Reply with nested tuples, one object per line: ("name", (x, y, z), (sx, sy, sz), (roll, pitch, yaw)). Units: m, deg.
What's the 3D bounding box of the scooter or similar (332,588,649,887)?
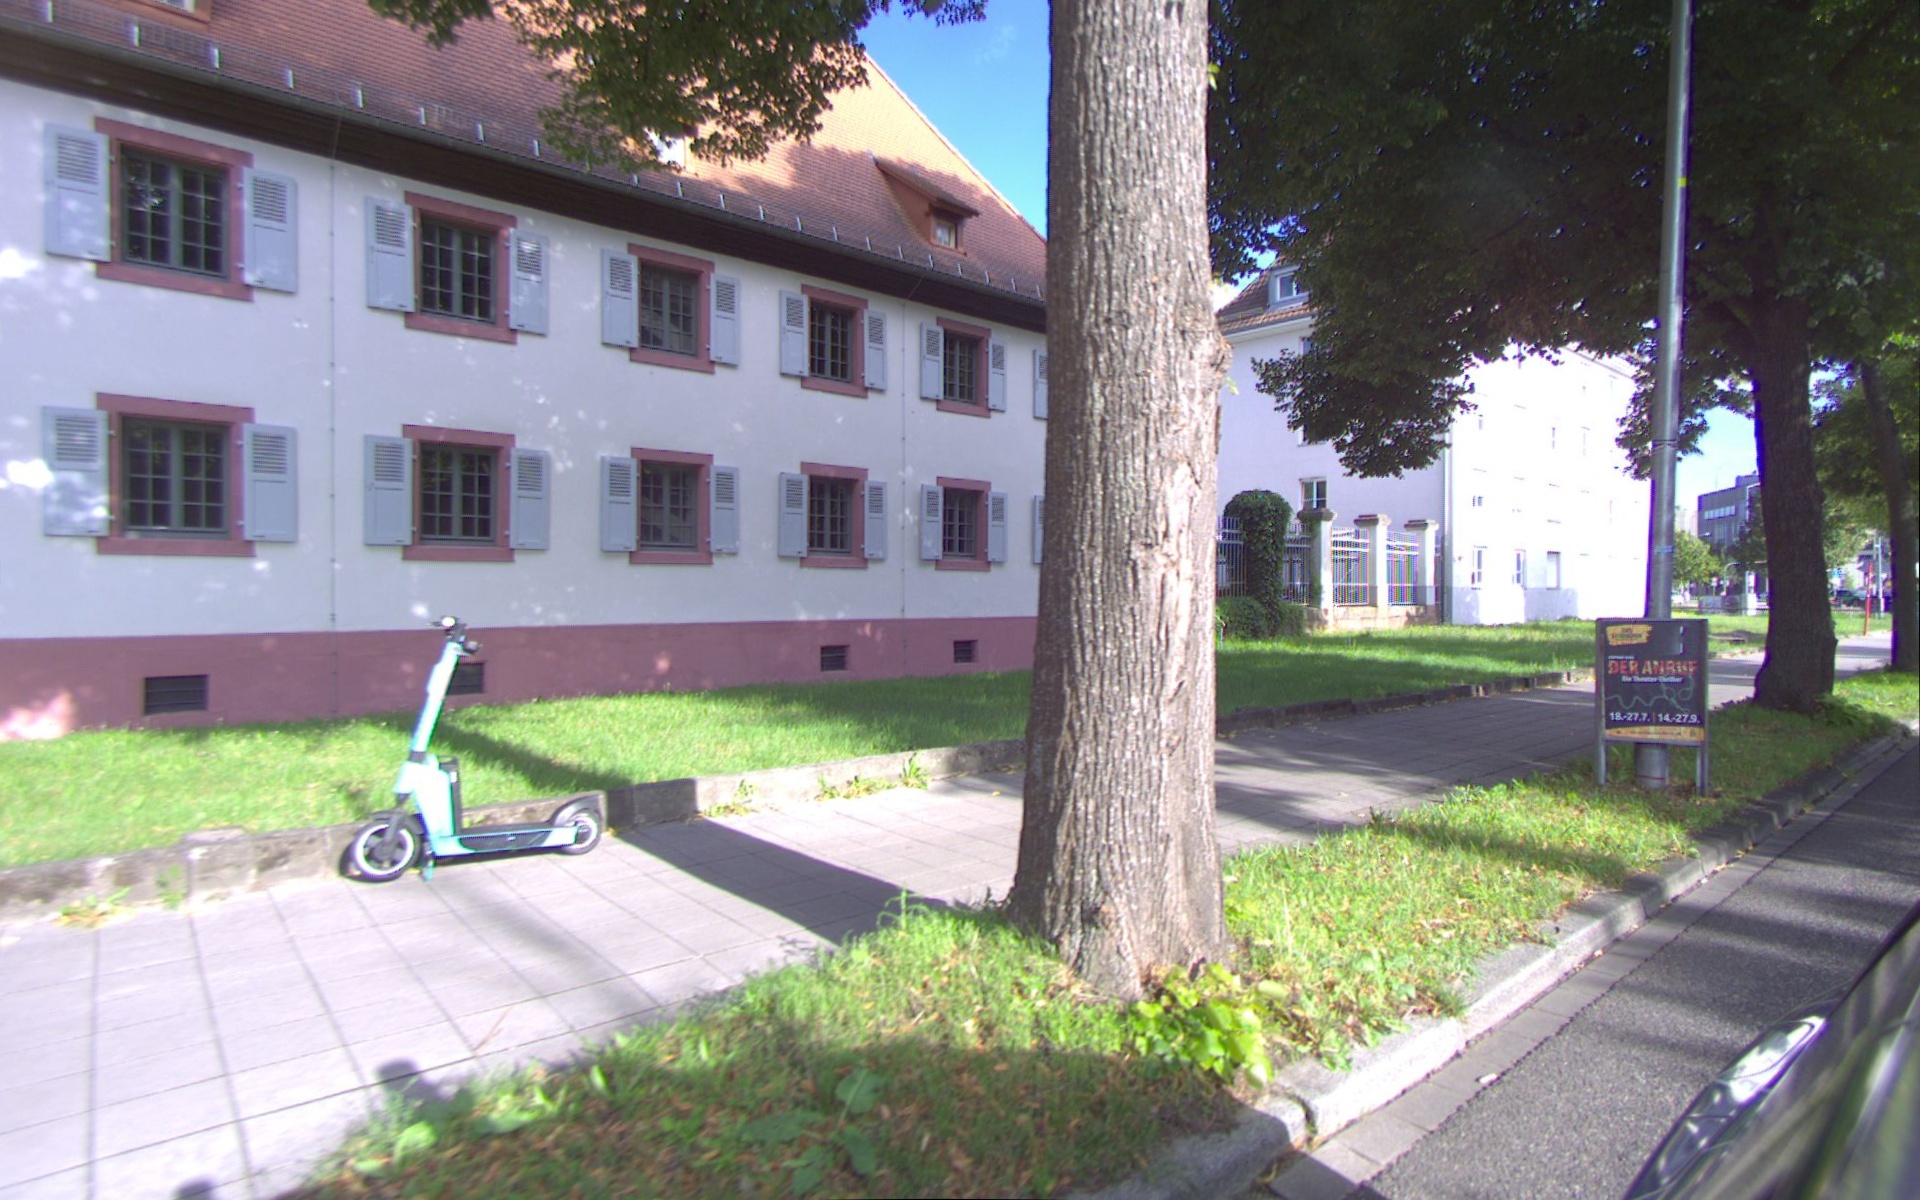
("scooter or similar", (-2.354, 0.604, 5.137), (1.357, 1.307, 0.580), (0, 2, -40))
